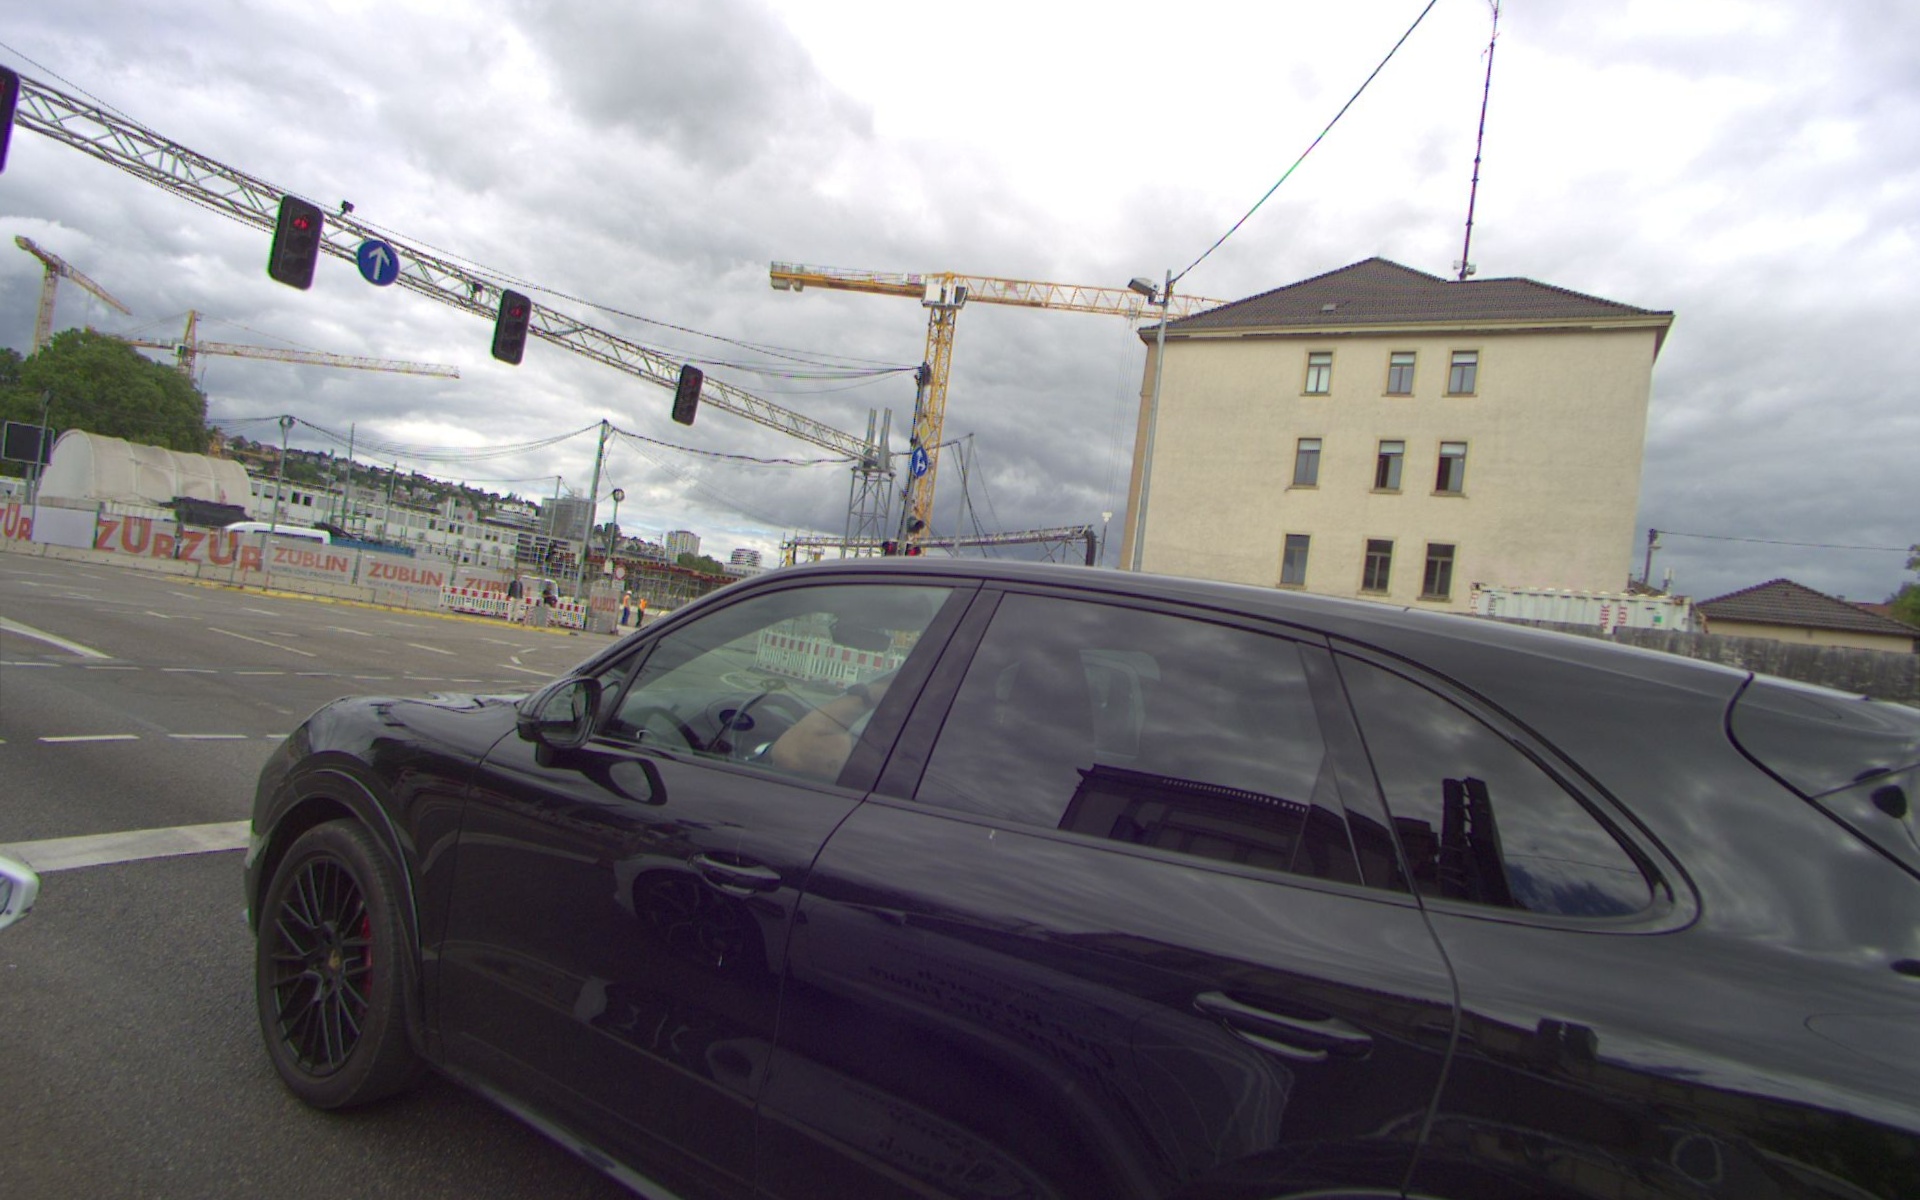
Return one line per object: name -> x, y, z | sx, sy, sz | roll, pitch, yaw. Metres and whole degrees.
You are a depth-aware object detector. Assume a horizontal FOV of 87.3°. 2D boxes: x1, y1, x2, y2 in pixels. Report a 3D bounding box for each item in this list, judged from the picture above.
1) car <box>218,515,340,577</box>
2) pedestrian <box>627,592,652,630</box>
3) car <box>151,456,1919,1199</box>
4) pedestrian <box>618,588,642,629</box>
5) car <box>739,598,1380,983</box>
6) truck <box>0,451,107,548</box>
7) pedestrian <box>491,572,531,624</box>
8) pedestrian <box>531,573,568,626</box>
car -> -29.525, -2.328, 43.642 | 3.976, 2.037, 1.976 | 9, -2, -43
pedestrian -> -17.372, 0.608, 54.543 | 0.850, 1.938, 0.680 | 7, -1, 26
car -> -0.004, 0.691, 2.713 | 4.505, 1.687, 1.996 | 6, -2, 34
pedestrian -> -17.640, 0.445, 53.824 | 0.855, 2.037, 0.677 | 6, -1, 44
car -> 0.577, 1.000, 6.550 | 3.587, 1.527, 1.825 | 6, -2, 33
truck -> -57.715, -6.348, 60.224 | 3.054, 5.017, 9.759 | 7, -2, 14
pedestrian -> -17.502, -0.076, 39.242 | 1.040, 1.869, 0.781 | 8, -1, -42
pedestrian -> -17.040, -0.021, 41.762 | 1.018, 2.037, 1.044 | 7, -1, -12
